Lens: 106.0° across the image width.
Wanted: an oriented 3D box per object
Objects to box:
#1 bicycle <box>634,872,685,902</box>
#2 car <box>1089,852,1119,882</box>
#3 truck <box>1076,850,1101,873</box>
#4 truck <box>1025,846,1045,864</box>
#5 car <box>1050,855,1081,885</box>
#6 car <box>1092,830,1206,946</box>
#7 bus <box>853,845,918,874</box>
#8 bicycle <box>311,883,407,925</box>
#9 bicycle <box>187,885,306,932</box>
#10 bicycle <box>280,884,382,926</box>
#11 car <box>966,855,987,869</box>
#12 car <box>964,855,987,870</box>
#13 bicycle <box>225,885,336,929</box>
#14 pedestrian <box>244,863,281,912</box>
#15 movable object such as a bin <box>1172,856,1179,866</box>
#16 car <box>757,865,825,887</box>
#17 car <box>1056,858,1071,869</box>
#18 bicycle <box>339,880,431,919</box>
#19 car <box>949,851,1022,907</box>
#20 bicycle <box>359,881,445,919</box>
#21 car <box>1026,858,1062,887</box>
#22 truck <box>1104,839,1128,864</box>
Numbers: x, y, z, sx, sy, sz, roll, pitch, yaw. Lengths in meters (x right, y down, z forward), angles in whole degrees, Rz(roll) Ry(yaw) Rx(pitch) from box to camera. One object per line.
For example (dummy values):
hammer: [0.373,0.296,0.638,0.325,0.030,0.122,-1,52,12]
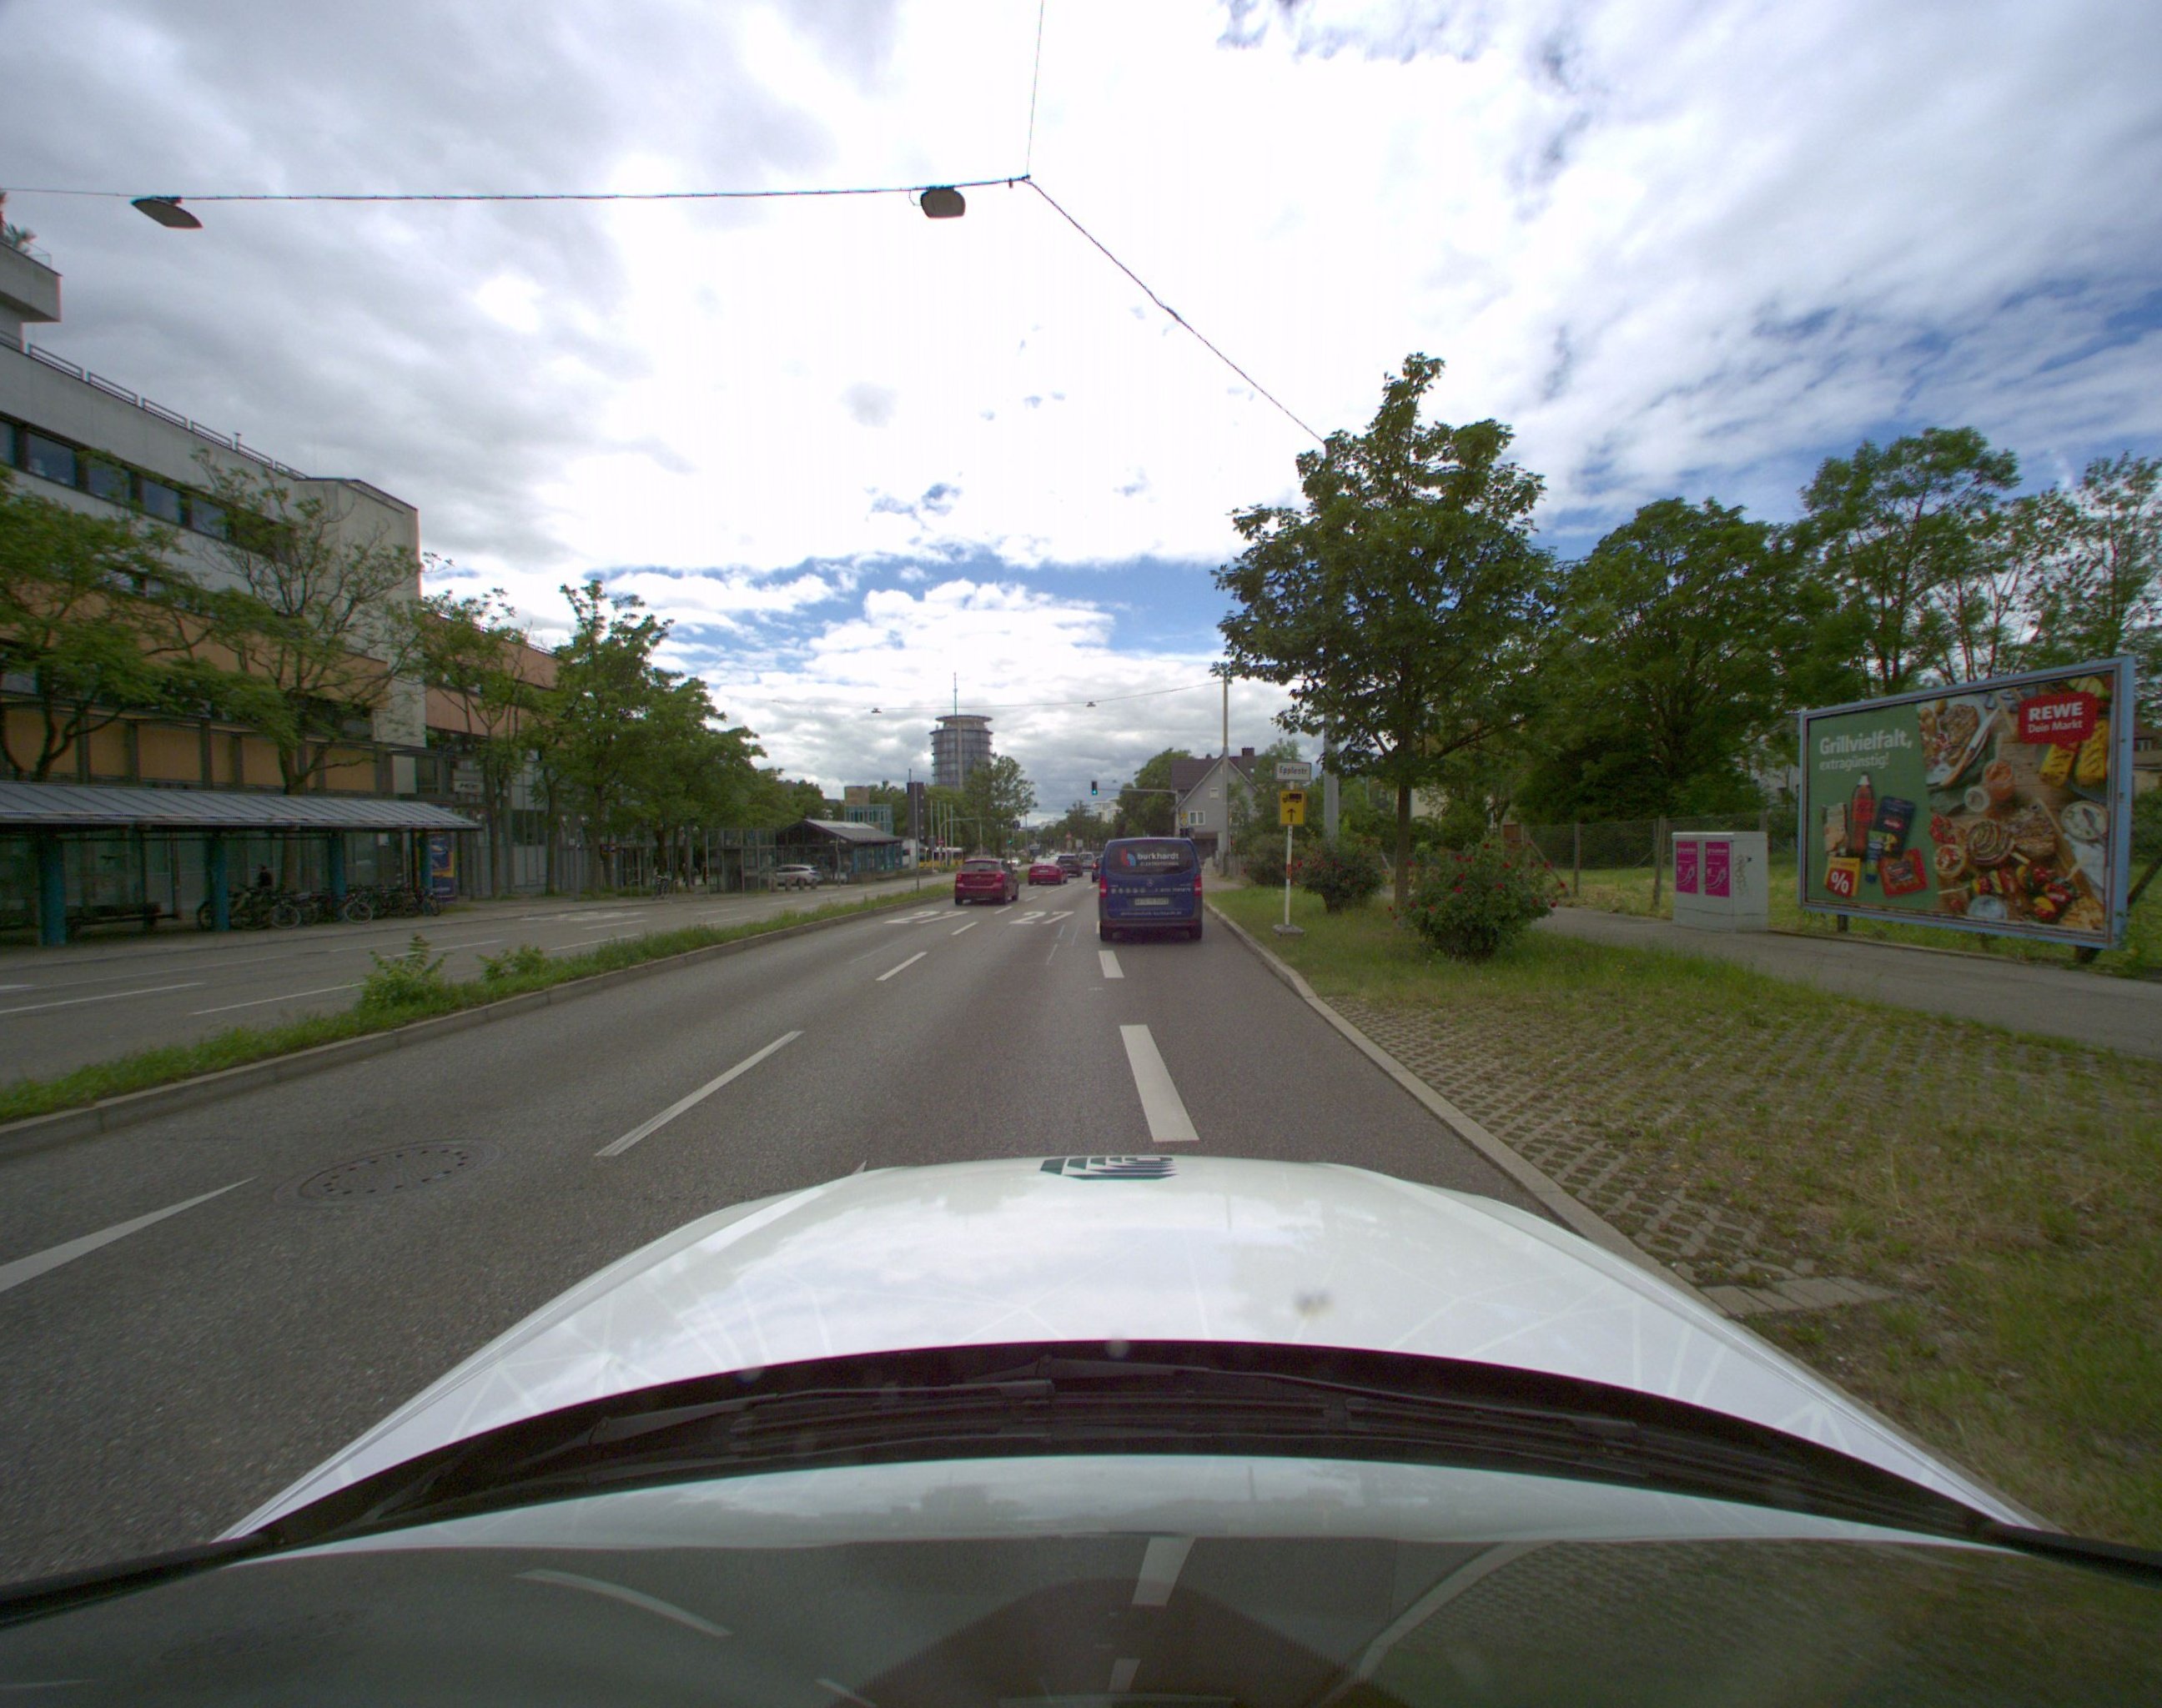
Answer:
bicycle: [-19.483,1.493,37.690,1.048,1.271,2.425,1,0,0]
car: [1.400,0.753,49.825,1.740,1.723,4.001,-2,0,1]
truck: [0.768,0.769,80.383,1.984,2.166,5.566,1,0,5]
truck: [-9.626,0.277,172.004,3.355,3.727,11.284,0,-1,2]
car: [-1.161,1.099,58.531,1.990,2.013,3.994,0,1,-4]
car: [1.290,0.596,16.233,1.940,1.965,4.545,0,0,3]
bus: [-22.634,0.633,95.265,2.939,3.133,12.190,0,-1,9]
bicycle: [-21.815,1.496,24.633,2.066,1.153,0.709,-1,0,-12]
bicycle: [-21.587,1.410,21.110,2.066,1.153,0.709,1,-1,-12]
bicycle: [-21.390,1.444,23.263,2.066,1.153,0.709,0,-1,-12]
car: [-12.174,0.953,95.267,1.616,1.574,4.006,-2,0,5]
car: [-12.323,0.971,95.227,1.740,1.517,4.005,-9,-1,4]
bicycle: [-21.815,1.445,22.241,2.066,1.153,0.709,1,-1,-12]
pedestrian: [-28.000,1.146,27.854,0.529,1.643,0.676,-2,0,5]
movable object such as a bin: [10.304,0.741,88.563,0.596,1.101,0.573,-1,0,-4]
car: [-19.679,1.463,55.453,3.984,1.354,1.995,-1,0,-8]
car: [-3.517,1.805,161.283,1.980,2.013,4.193,-2,0,12]
bicycle: [-21.872,1.431,25.641,2.066,1.153,0.709,2,-1,-12]
car: [-3.149,0.776,27.541,1.739,1.723,4.003,1,0,3]
bicycle: [-22.181,1.487,26.631,2.066,1.153,0.709,-1,-1,-12]
car: [-2.115,1.045,45.276,1.865,1.486,3.993,-1,-2,-4]
truck: [3.261,-0.184,74.804,1.984,2.166,5.566,1,0,5]
